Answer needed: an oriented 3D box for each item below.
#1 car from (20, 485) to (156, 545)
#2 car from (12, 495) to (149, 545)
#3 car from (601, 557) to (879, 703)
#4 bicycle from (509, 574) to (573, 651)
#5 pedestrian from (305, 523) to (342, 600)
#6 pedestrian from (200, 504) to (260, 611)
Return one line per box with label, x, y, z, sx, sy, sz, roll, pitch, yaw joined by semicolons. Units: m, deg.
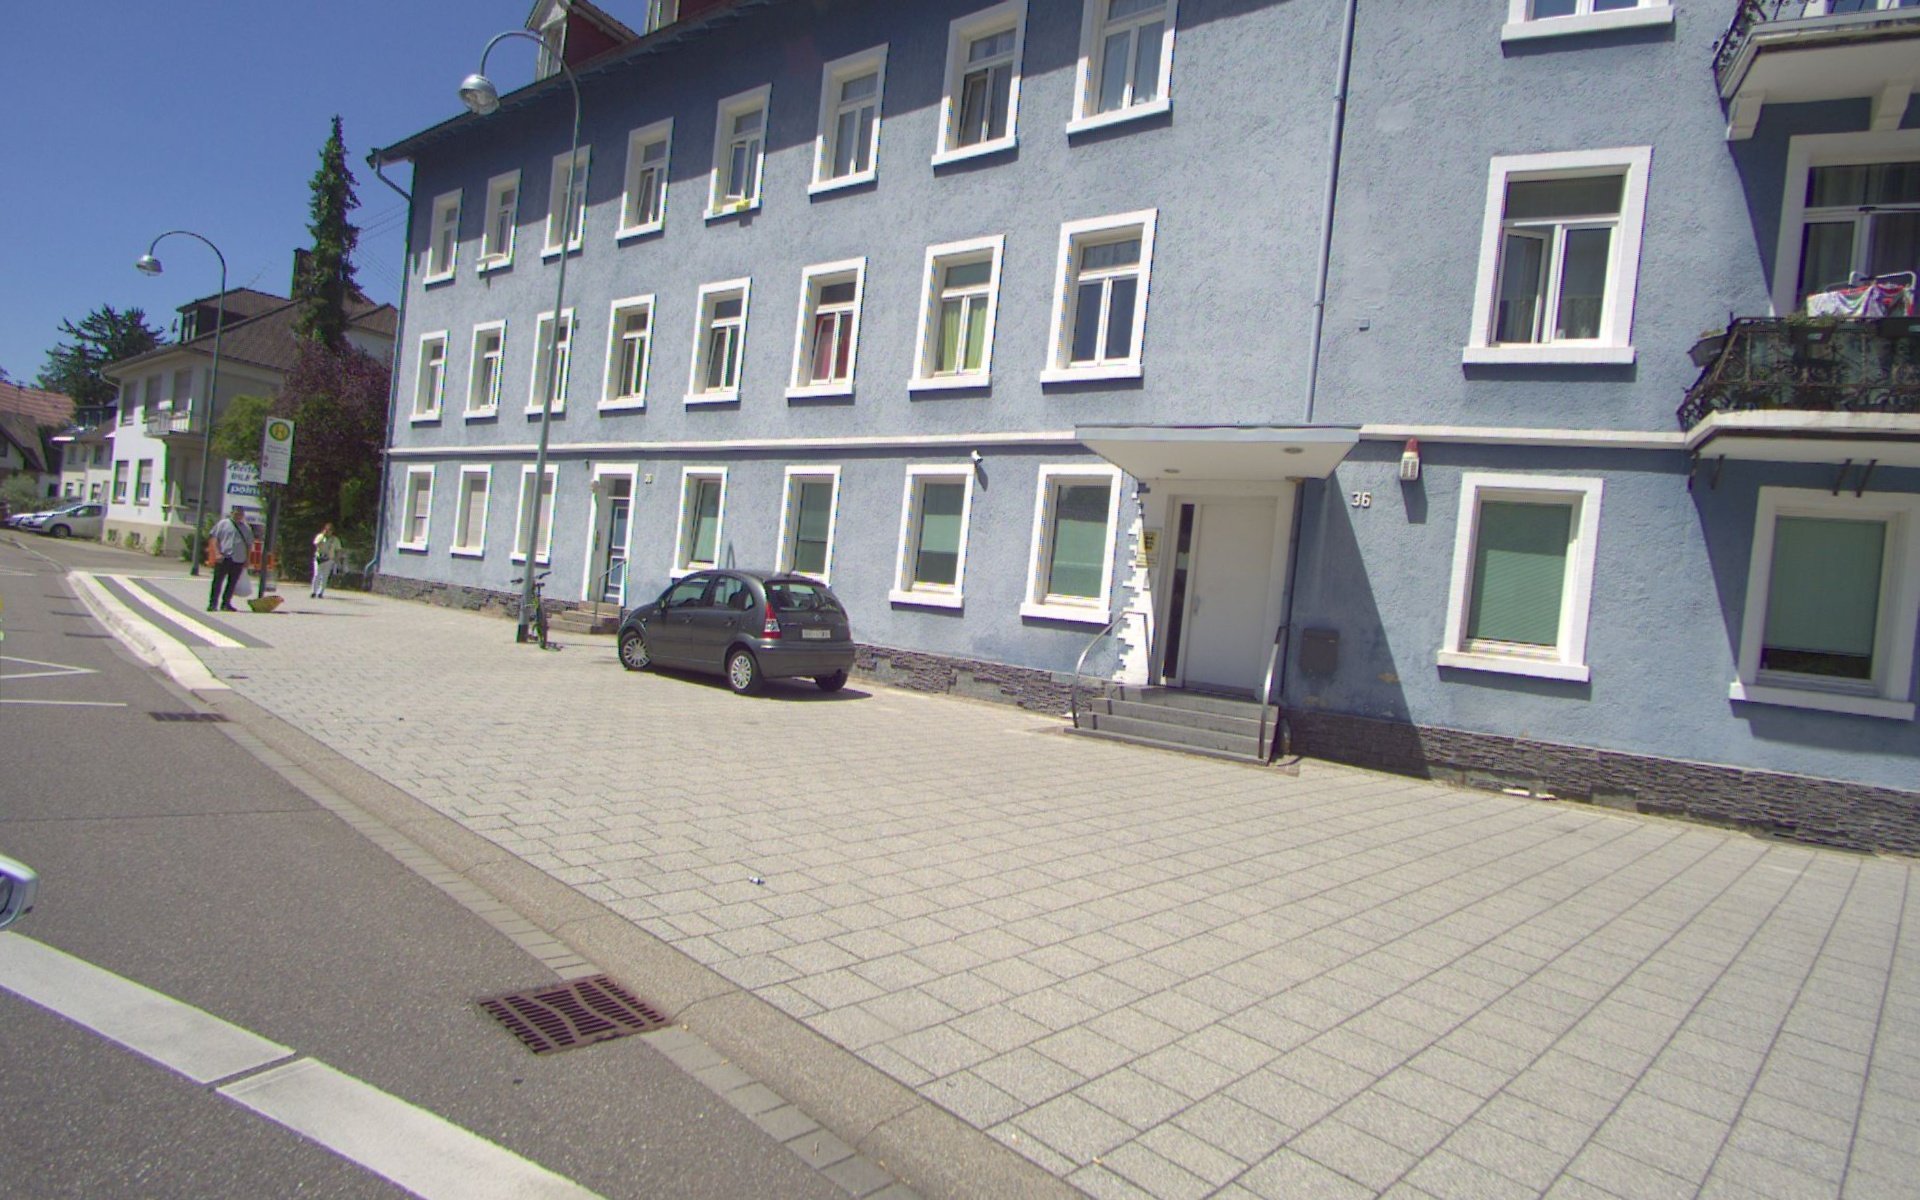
car;-40.302;-3.888;46.606;1.710;1.851;4.303;7;-3;30
car;-42.271;-3.817;48.457;1.743;1.424;4.642;7;-3;40
car;-3.064;0.325;13.683;3.688;1.534;1.754;6;3;40
bicycle;-6.681;0.176;15.987;0.626;1.053;1.867;3;2;-31
pedestrian;-14.245;-0.864;22.509;0.609;1.637;0.743;3;3;-35
pedestrian;-12.881;-0.744;17.750;0.739;1.830;0.613;6;3;34
